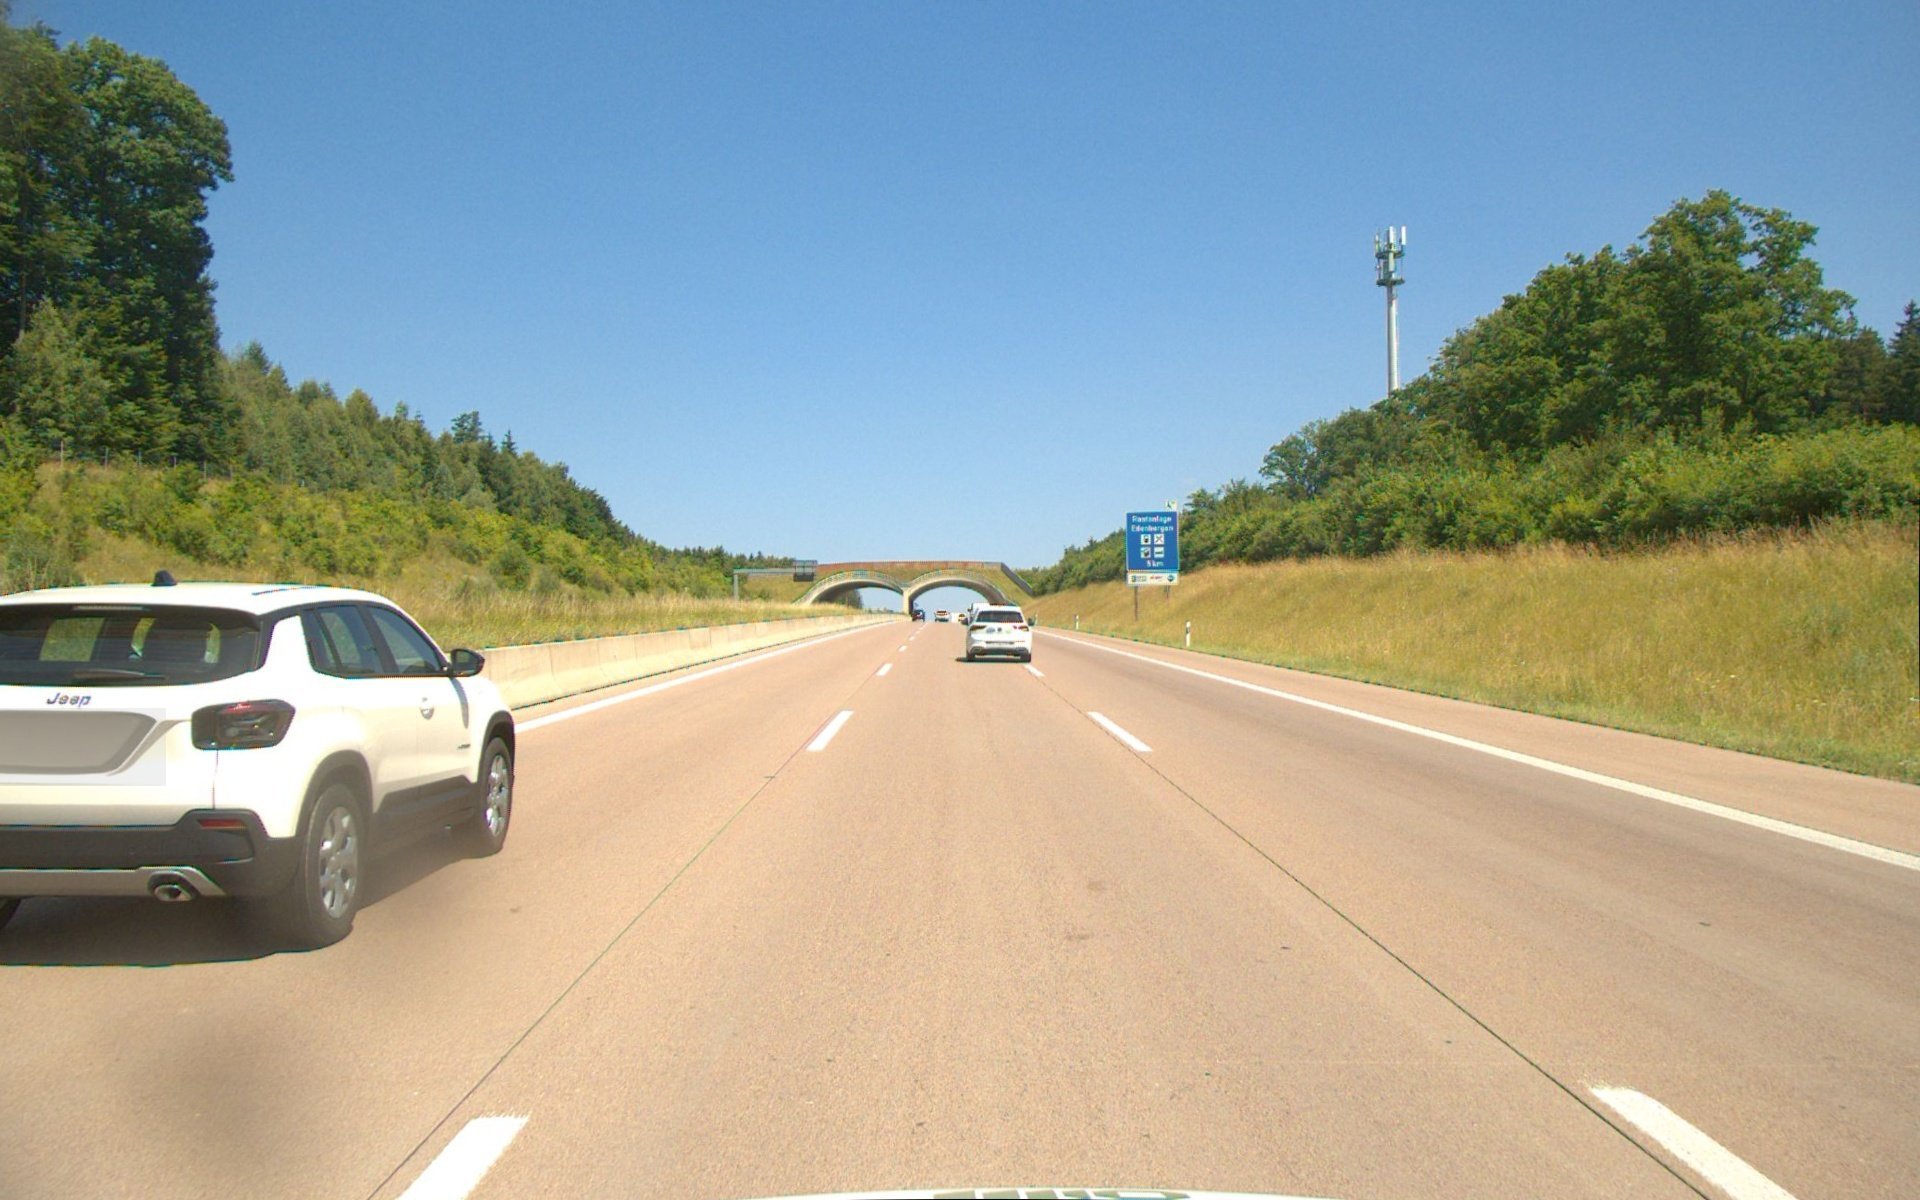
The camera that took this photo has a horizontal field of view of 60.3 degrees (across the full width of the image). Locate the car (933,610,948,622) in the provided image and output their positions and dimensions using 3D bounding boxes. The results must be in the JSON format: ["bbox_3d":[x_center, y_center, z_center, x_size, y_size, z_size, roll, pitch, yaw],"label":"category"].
[{"bbox_3d":[-2.521,2.122,216.261,1.852,1.489,4.000,1,0,0],"label":"car"}]

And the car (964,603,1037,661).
[{"bbox_3d":[1.088,0.826,44.454,1.852,1.422,4.001,1,0,1],"label":"car"}]

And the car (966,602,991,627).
[{"bbox_3d":[1.642,1.243,145.941,2.067,2.090,4.001,0,1,1],"label":"car"}]

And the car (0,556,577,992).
[{"bbox_3d":[-3.461,0.655,8.637,1.841,1.635,4.833,0,0,-1],"label":"car"}]

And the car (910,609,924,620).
[{"bbox_3d":[-6.377,2.139,244.475,1.852,1.489,4.001,1,1,1],"label":"car"}]
